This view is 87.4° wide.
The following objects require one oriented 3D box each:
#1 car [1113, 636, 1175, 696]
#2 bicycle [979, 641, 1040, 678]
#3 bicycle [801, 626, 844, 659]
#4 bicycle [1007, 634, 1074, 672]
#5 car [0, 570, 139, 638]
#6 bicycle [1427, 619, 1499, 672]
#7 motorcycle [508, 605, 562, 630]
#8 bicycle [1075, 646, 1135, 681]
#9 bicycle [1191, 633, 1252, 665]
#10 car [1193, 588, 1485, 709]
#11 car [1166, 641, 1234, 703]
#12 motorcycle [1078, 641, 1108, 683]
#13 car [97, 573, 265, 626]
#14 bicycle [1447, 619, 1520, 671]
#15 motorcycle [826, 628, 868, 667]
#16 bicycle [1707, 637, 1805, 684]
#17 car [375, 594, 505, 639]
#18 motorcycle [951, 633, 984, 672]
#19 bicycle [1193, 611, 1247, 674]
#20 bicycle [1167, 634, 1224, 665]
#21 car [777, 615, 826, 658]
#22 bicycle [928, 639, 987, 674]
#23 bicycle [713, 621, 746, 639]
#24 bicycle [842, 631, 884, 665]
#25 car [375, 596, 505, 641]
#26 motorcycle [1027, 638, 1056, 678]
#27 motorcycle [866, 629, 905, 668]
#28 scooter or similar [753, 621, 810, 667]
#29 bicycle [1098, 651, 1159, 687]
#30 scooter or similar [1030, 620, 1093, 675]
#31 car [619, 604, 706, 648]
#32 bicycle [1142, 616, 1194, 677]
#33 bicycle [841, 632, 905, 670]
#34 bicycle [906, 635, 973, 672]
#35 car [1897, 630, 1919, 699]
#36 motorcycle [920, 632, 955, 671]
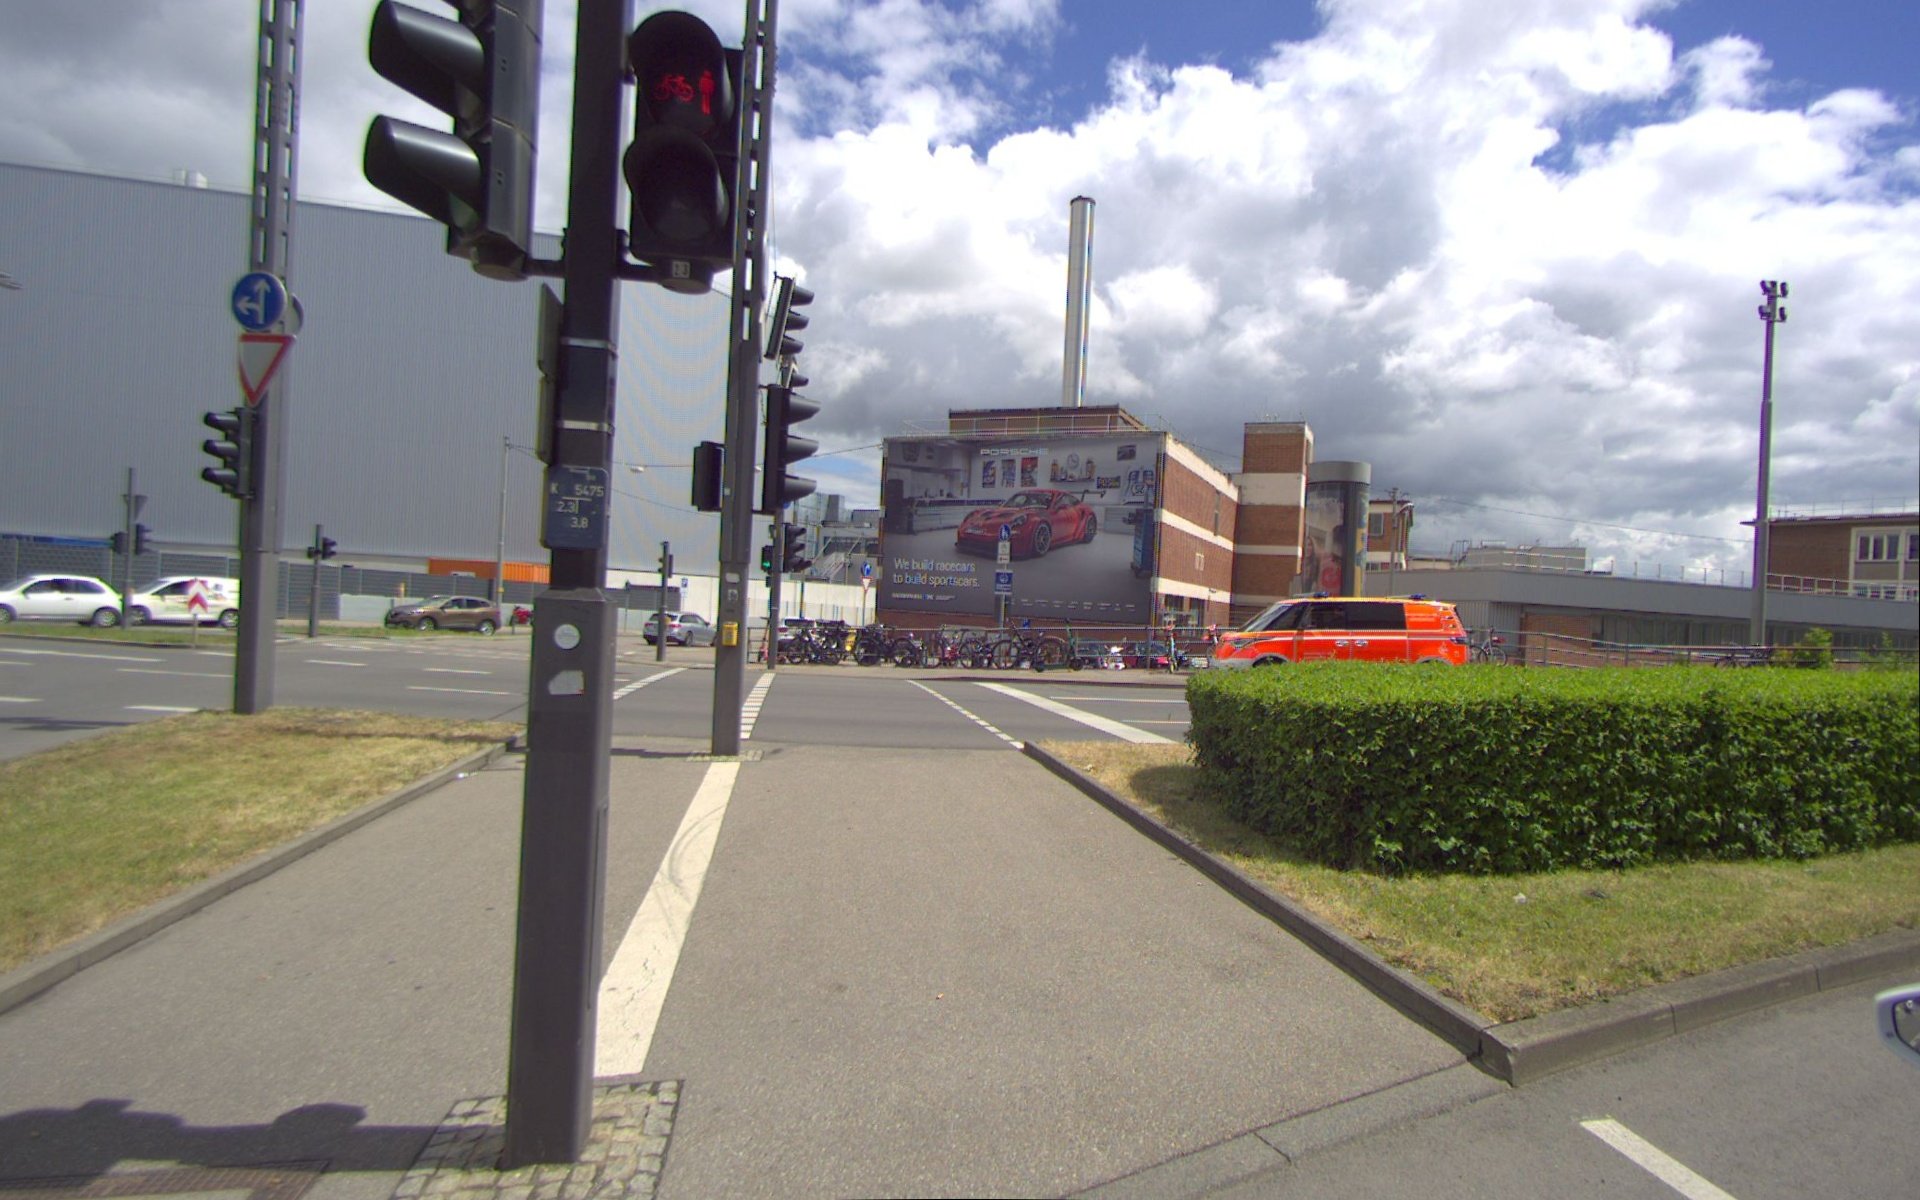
[{"bbox_3d":[6.622,2.343,36.423,1.598,1.808,3.484,4,1,2],"label":"car"},{"bbox_3d":[1.372,1.653,28.006,1.580,0.878,0.492,5,1,22],"label":"bicycle"},{"bbox_3d":[-3.999,1.222,29.351,0.483,0.878,1.611,5,1,21],"label":"bicycle"},{"bbox_3d":[1.952,1.293,24.527,1.580,0.878,0.492,1,0,-3],"label":"bicycle"},{"bbox_3d":[-27.043,0.131,29.758,1.879,1.820,3.767,5,1,32],"label":"car"},{"bbox_3d":[12.842,1.131,25.685,0.659,1.198,1.737,-2,3,-16],"label":"bicycle"},{"bbox_3d":[-23.587,0.989,55.842,0.936,1.245,2.749,5,0,27],"label":"motorcycle"},{"bbox_3d":[4.126,1.809,28.584,1.583,0.878,0.491,4,1,-12],"label":"bicycle"},{"bbox_3d":[7.360,1.372,28.313,1.580,0.878,0.492,1,0,-3],"label":"bicycle"},{"bbox_3d":[7.061,0.884,19.068,4.742,2.010,2.000,2,-1,-1],"label":"car"},{"bbox_3d":[8.646,2.571,36.451,1.670,1.828,3.484,4,1,3],"label":"car"},{"bbox_3d":[4.766,2.177,35.793,0.902,1.211,2.914,4,1,9],"label":"motorcycle"},{"bbox_3d":[-27.722,0.024,35.900,1.964,1.645,4.284,5,1,30],"label":"car"},{"bbox_3d":[13.572,1.159,26.098,0.658,1.198,1.738,2,1,-14],"label":"bicycle"},{"bbox_3d":[-4.177,1.723,37.296,0.902,1.211,2.914,4,1,5],"label":"motorcycle"},{"bbox_3d":[19.097,1.452,24.098,2.255,1.086,0.453,1,1,-11],"label":"bicycle"},{"bbox_3d":[-20.529,0.666,39.805,1.792,1.577,4.218,5,1,29],"label":"car"},{"bbox_3d":[0.316,1.910,37.130,0.902,1.211,2.914,4,1,5],"label":"motorcycle"},{"bbox_3d":[6.331,1.011,24.527,0.484,1.401,1.606,4,1,-14],"label":"bicycle"},{"bbox_3d":[6.824,1.431,29.119,1.584,0.878,0.491,1,0,-15],"label":"bicycle"},{"bbox_3d":[-6.248,1.405,39.575,1.753,1.368,3.349,4,1,-9],"label":"car"},{"bbox_3d":[-0.074,1.557,27.970,1.582,0.878,0.492,2,0,29],"label":"bicycle"},{"bbox_3d":[-17.349,2.283,75.530,2.311,1.222,0.445,4,1,-25],"label":"bicycle"},{"bbox_3d":[-2.770,1.364,28.860,0.483,0.878,1.611,5,1,21],"label":"bicycle"},{"bbox_3d":[-20.535,0.728,39.847,1.780,1.565,4.231,5,1,28],"label":"car"},{"bbox_3d":[2.963,2.071,36.322,0.902,1.211,2.914,4,1,5],"label":"motorcycle"},{"bbox_3d":[-2.720,1.769,37.198,0.902,1.211,2.914,4,1,5],"label":"motorcycle"},{"bbox_3d":[-4.785,1.163,26.893,1.604,1.197,0.501,-1,-2,32],"label":"scooter or similar"},{"bbox_3d":[4.670,1.909,27.793,1.588,0.878,0.490,4,1,-23],"label":"bicycle"},{"bbox_3d":[2.390,1.103,23.675,1.367,1.248,0.493,0,2,-15],"label":"scooter or similar"},{"bbox_3d":[-12.708,1.080,43.143,1.960,1.598,4.002,4,1,9],"label":"car"},{"bbox_3d":[4.996,1.093,24.214,0.484,1.334,1.606,4,1,-14],"label":"bicycle"},{"bbox_3d":[-2.206,1.265,25.328,1.581,0.878,0.492,1,0,28],"label":"bicycle"},{"bbox_3d":[-0.502,1.299,24.706,1.578,0.878,0.493,0,0,15],"label":"bicycle"},{"bbox_3d":[22.345,1.402,20.961,4.592,1.416,1.756,1,2,-13],"label":"car"},{"bbox_3d":[-0.814,1.872,37.190,0.902,1.211,2.914,4,1,5],"label":"motorcycle"}]
